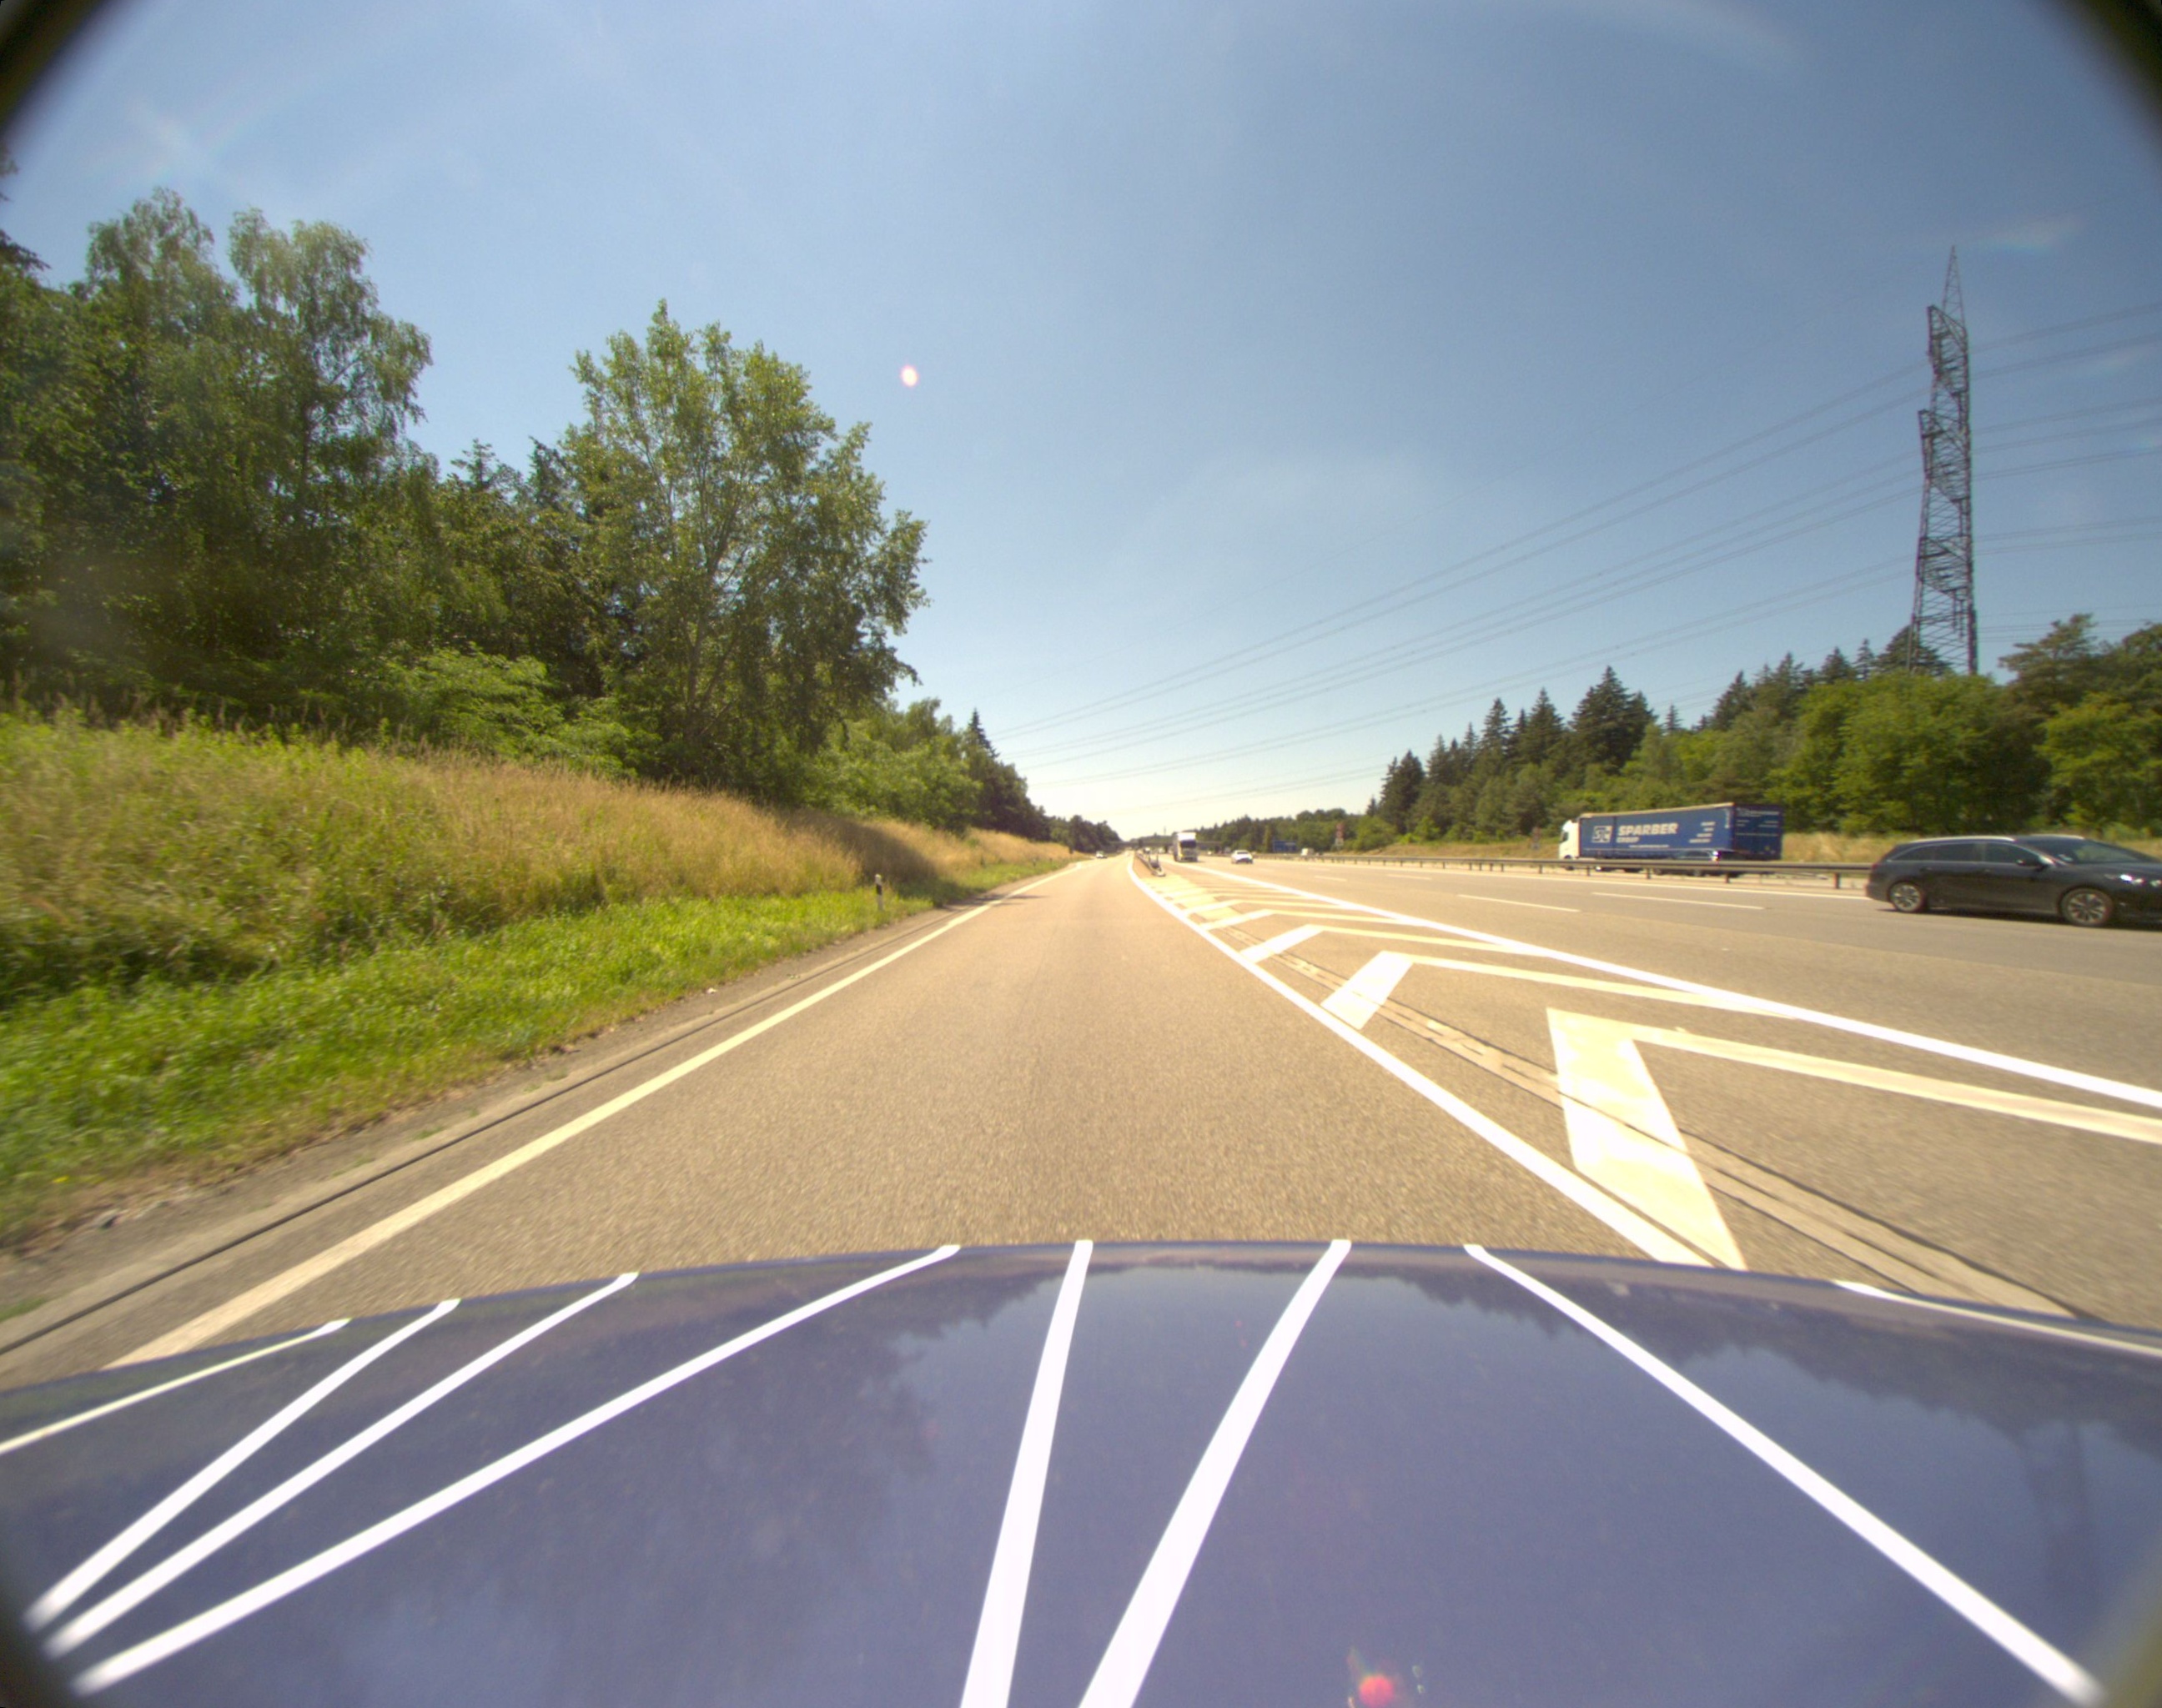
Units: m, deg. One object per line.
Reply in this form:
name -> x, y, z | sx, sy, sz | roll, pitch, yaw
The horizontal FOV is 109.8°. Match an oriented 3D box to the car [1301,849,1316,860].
car -> 57.961, 0.110, 193.384 | 2.310, 2.500, 6.458 | -1, 0, 4

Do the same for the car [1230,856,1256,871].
car -> 17.980, 0.999, 84.528 | 1.968, 1.495, 5.405 | -1, 1, 4

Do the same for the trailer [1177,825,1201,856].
trailer -> 15.424, -1.852, 109.419 | 2.981, 4.118, 11.701 | -1, 0, 6

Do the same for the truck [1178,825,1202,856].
truck -> 14.786, -1.823, 103.520 | 2.978, 4.118, 5.351 | -1, 0, 6

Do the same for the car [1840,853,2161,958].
car -> 16.267, 0.721, 12.975 | 1.836, 1.423, 5.001 | -1, 0, 4

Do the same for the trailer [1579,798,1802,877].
trailer -> 36.660, -0.939, 47.015 | 3.210, 4.148, 13.985 | 1, 1, 3

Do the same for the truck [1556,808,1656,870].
truck -> 37.097, -1.023, 53.985 | 3.210, 4.148, 5.723 | 1, 1, 3
